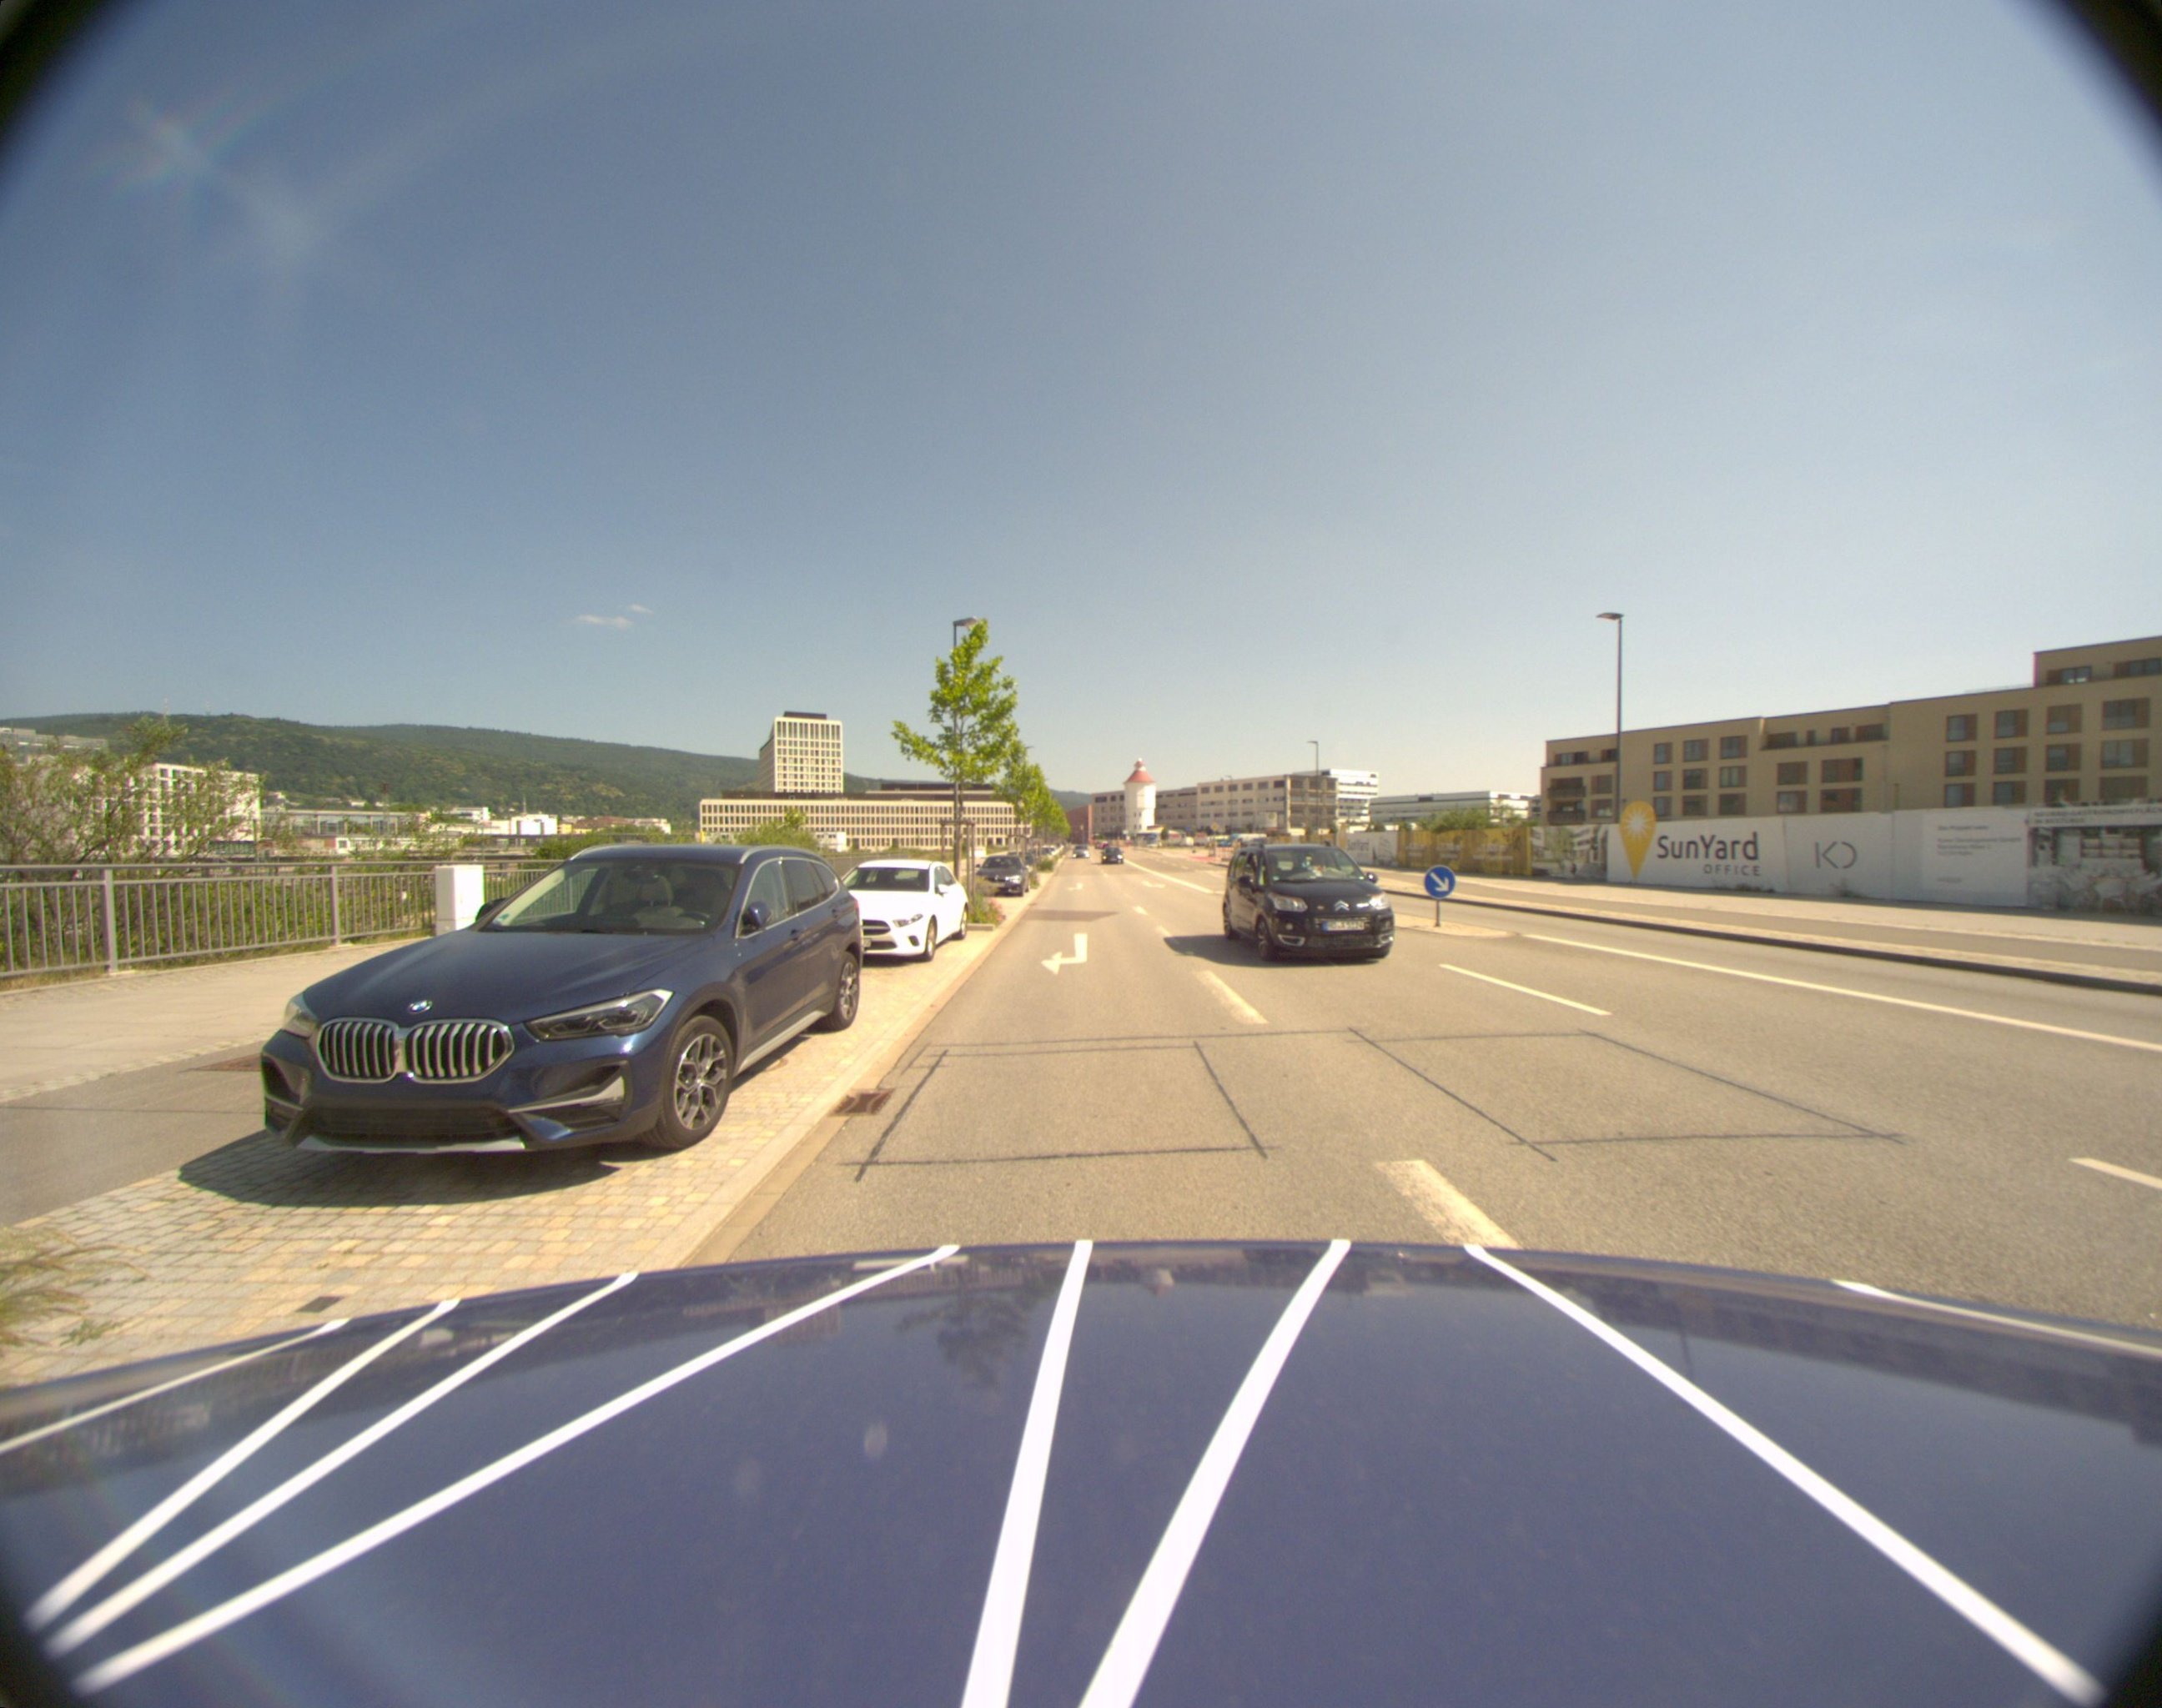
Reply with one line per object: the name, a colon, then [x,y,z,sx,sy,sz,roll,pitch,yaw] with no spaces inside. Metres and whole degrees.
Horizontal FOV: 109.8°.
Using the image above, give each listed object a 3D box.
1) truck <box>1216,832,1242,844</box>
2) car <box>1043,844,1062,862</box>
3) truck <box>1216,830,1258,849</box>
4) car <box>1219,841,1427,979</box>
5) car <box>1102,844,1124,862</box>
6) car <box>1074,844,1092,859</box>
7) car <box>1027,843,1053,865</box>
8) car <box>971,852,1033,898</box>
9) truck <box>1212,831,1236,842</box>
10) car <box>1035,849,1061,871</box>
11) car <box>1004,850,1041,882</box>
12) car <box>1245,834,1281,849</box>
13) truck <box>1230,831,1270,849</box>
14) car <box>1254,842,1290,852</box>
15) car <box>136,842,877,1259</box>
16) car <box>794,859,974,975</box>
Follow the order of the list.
truck: [34.482,-3.756,177.038,5.333,2.461,1.999,-3,1,-4]
car: [-2.606,-0.090,69.816,1.525,1.482,3.504,-3,1,0]
truck: [23.204,-2.134,112.949,5.633,2.461,1.999,-3,1,-4]
car: [3.332,0.661,11.299,1.808,1.613,3.916,-3,1,0]
car: [2.667,-0.106,63.411,1.709,1.404,3.999,0,1,1]
car: [0.244,-0.301,83.400,1.820,1.458,4.346,-2,1,1]
car: [-3.274,-0.019,60.885,1.768,1.609,3.374,-3,1,0]
car: [-2.791,0.707,27.589,1.808,1.424,3.916,2,1,0]
truck: [34.792,-4.195,185.055,5.412,2.461,1.999,-2,1,-2]
car: [-2.151,0.361,50.275,1.490,1.302,3.154,2,1,0]
car: [-2.905,0.560,38.359,1.569,1.465,3.006,2,1,0]
car: [23.030,-1.614,96.129,3.930,1.708,1.891,-3,1,-5]
truck: [23.491,-1.977,105.536,5.004,2.215,1.999,-2,1,-1]
car: [19.562,-0.718,77.838,3.359,0.947,1.293,-2,1,3]
car: [-2.895,0.768,5.211,1.808,1.674,4.270,1,1,0]
car: [-2.889,0.847,12.133,1.711,1.366,4.270,2,1,0]
